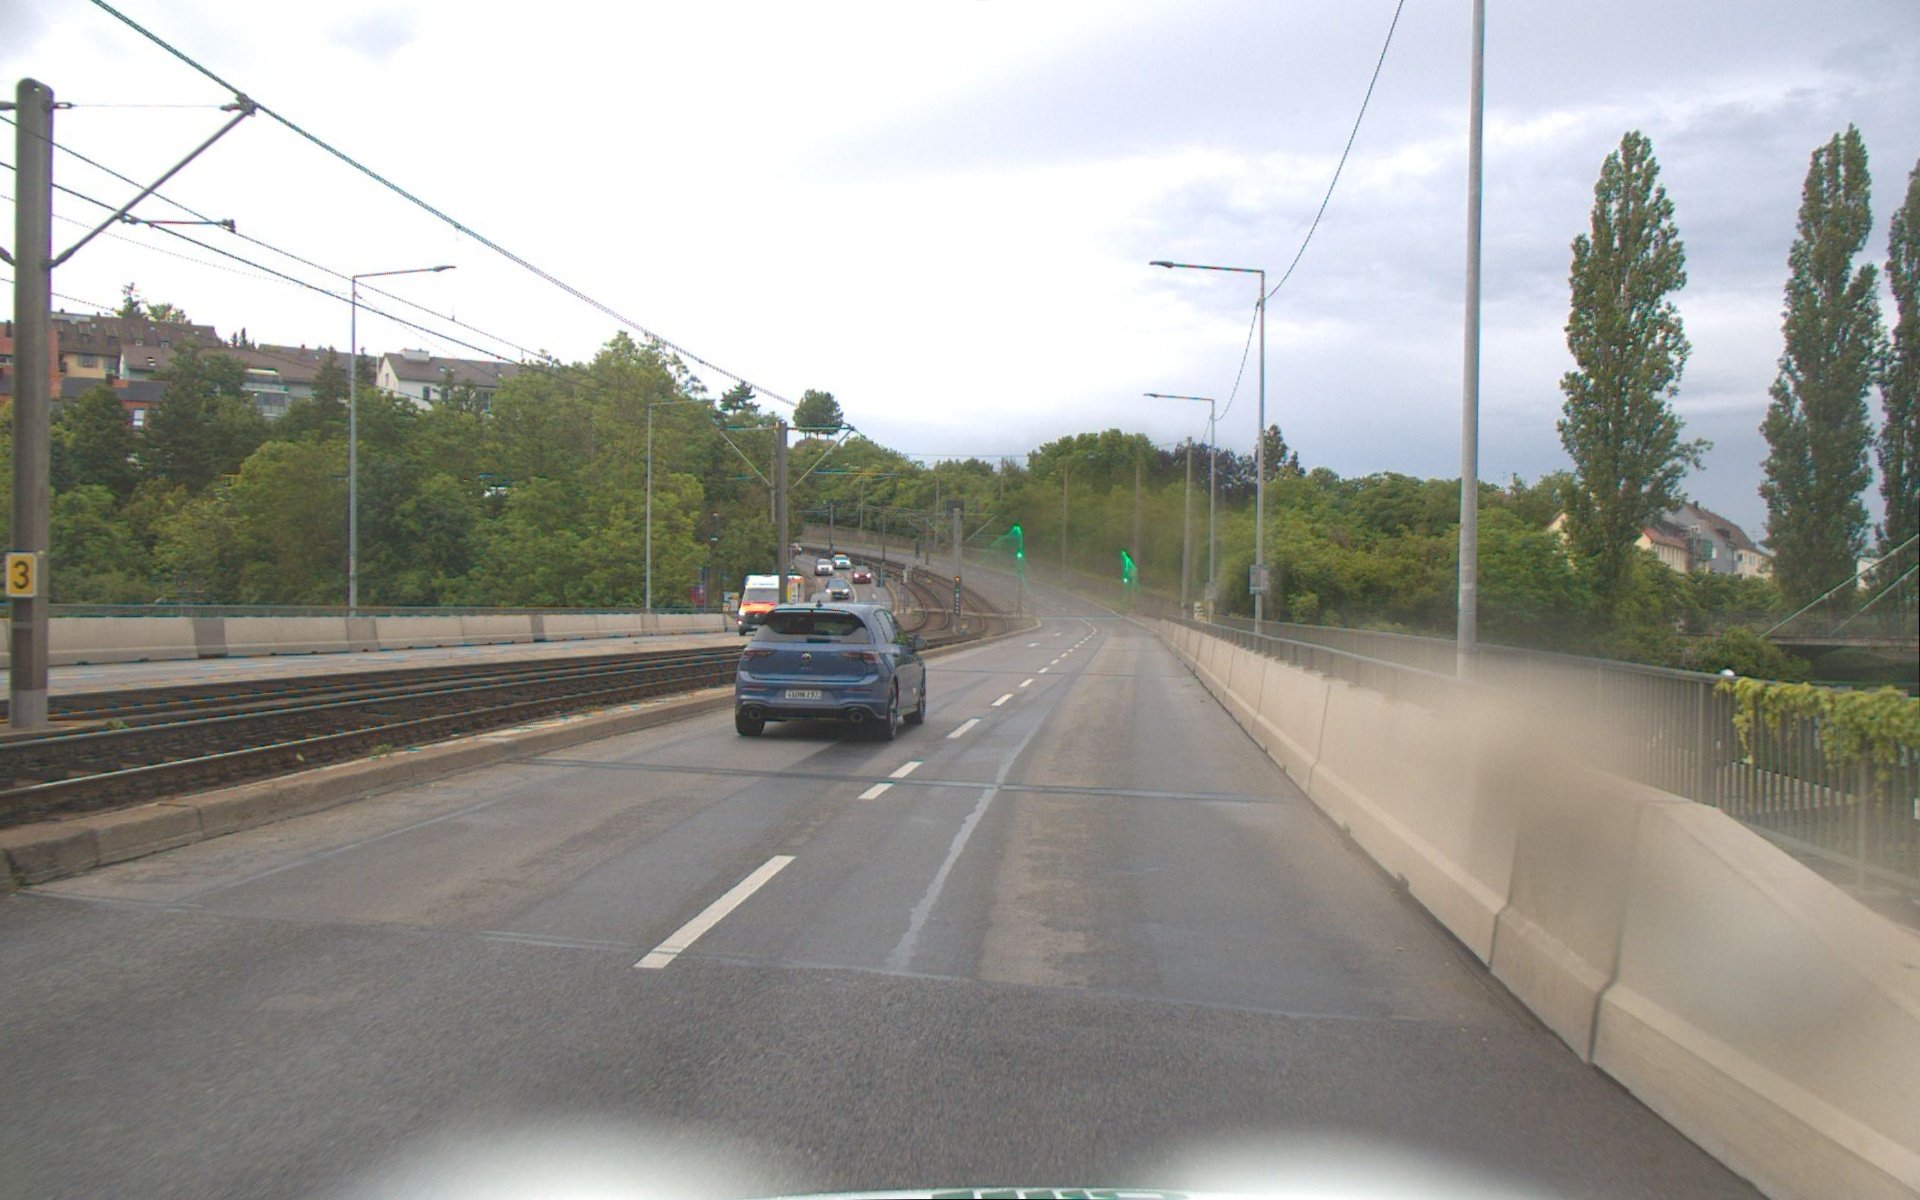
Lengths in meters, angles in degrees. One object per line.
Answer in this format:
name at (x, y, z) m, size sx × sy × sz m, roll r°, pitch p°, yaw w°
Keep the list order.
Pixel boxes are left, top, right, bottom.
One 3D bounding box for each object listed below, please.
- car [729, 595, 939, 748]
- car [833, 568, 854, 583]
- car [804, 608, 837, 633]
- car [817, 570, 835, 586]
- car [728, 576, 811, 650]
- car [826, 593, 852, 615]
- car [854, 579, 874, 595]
car at (-1.338, 0.768, 19.191) m, size 1.726 × 1.527 × 4.002 m, roll 2°, pitch -1°, yaw 5°
car at (-12.730, -2.698, 180.494) m, size 1.699 × 1.462 × 4.479 m, roll 0°, pitch -1°, yaw -11°
car at (-9.571, 1.385, 113.779) m, size 1.857 × 1.625 × 4.732 m, roll 0°, pitch 0°, yaw 1°
car at (-13.681, -2.216, 169.054) m, size 1.786 × 1.542 × 4.524 m, roll 1°, pitch -1°, yaw -5°
car at (-8.643, 0.618, 75.671) m, size 2.339 × 3.170 × 6.360 m, roll 2°, pitch -1°, yaw 6°
car at (-9.959, 0.362, 135.704) m, size 1.931 × 1.625 × 5.177 m, roll 0°, pitch -2°, yaw -6°
car at (-9.053, -1.229, 155.633) m, size 1.570 × 1.519 × 3.012 m, roll -1°, pitch 1°, yaw -8°
